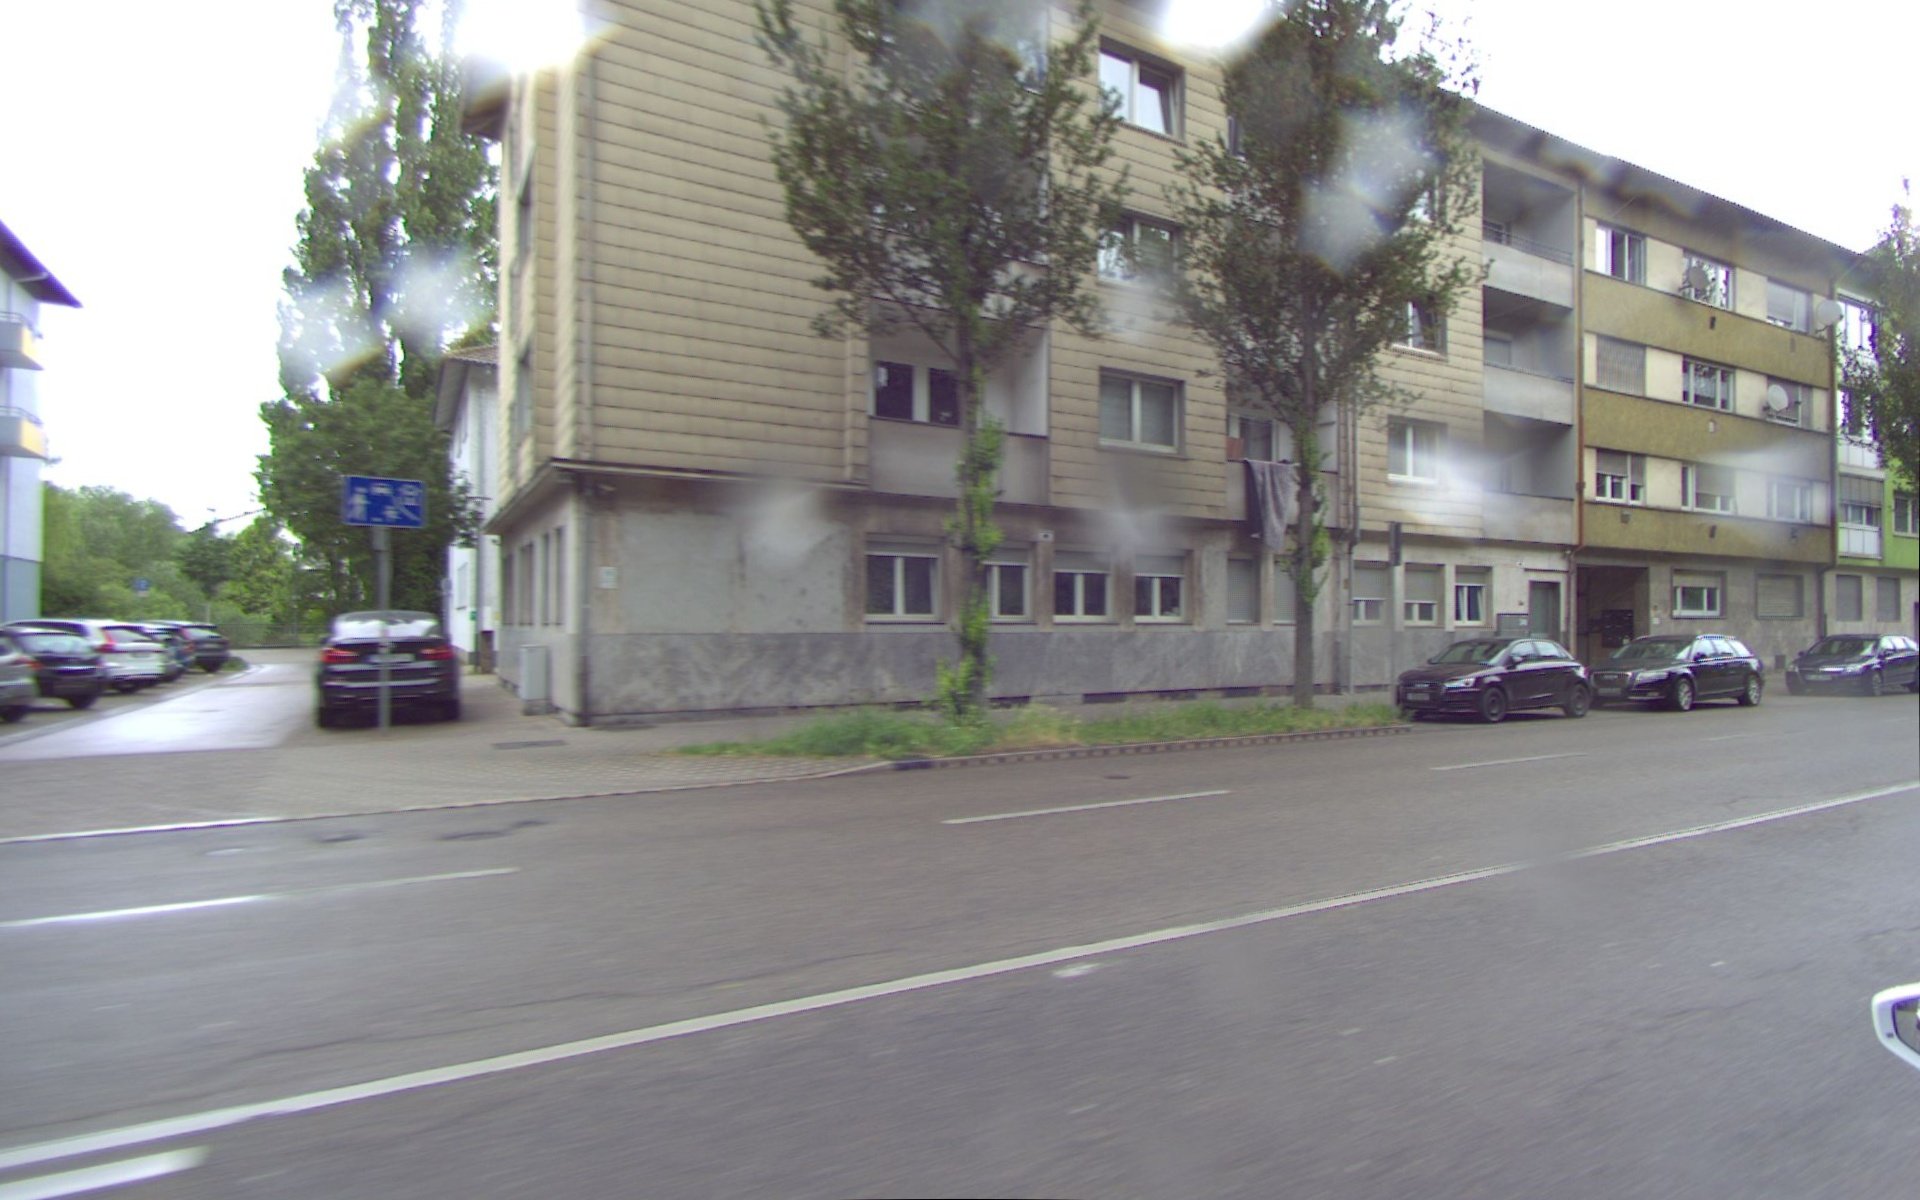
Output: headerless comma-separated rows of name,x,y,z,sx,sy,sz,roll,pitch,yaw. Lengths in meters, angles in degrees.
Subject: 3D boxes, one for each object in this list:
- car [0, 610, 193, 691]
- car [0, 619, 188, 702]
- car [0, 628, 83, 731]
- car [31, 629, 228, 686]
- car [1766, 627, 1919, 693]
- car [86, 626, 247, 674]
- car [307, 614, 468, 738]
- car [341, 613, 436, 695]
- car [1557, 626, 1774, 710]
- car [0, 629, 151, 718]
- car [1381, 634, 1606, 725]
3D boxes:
car,-21.572,1.207,24.715,3.926,1.906,1.682,0,-1,-8
car,-20.019,1.315,22.531,3.922,1.747,1.820,0,0,-2
car,-16.105,1.197,15.458,3.919,1.514,1.795,0,-2,8
car,-22.466,1.534,27.268,3.921,1.502,1.692,0,-1,0
car,22.229,1.452,25.079,4.459,1.508,1.711,0,-3,-29
car,-25.929,1.615,32.917,3.921,1.502,1.692,0,-1,0
car,-8.747,1.050,15.484,1.903,1.600,4.132,0,-1,-29
car,-12.794,1.145,22.653,1.689,1.653,3.971,-1,-1,-28
car,14.449,1.332,20.506,4.734,1.508,1.809,0,-3,-31
car,-17.428,1.288,18.397,3.919,1.514,1.877,0,-1,8
car,9.419,1.331,17.683,3.940,1.405,1.619,0,-2,-29
